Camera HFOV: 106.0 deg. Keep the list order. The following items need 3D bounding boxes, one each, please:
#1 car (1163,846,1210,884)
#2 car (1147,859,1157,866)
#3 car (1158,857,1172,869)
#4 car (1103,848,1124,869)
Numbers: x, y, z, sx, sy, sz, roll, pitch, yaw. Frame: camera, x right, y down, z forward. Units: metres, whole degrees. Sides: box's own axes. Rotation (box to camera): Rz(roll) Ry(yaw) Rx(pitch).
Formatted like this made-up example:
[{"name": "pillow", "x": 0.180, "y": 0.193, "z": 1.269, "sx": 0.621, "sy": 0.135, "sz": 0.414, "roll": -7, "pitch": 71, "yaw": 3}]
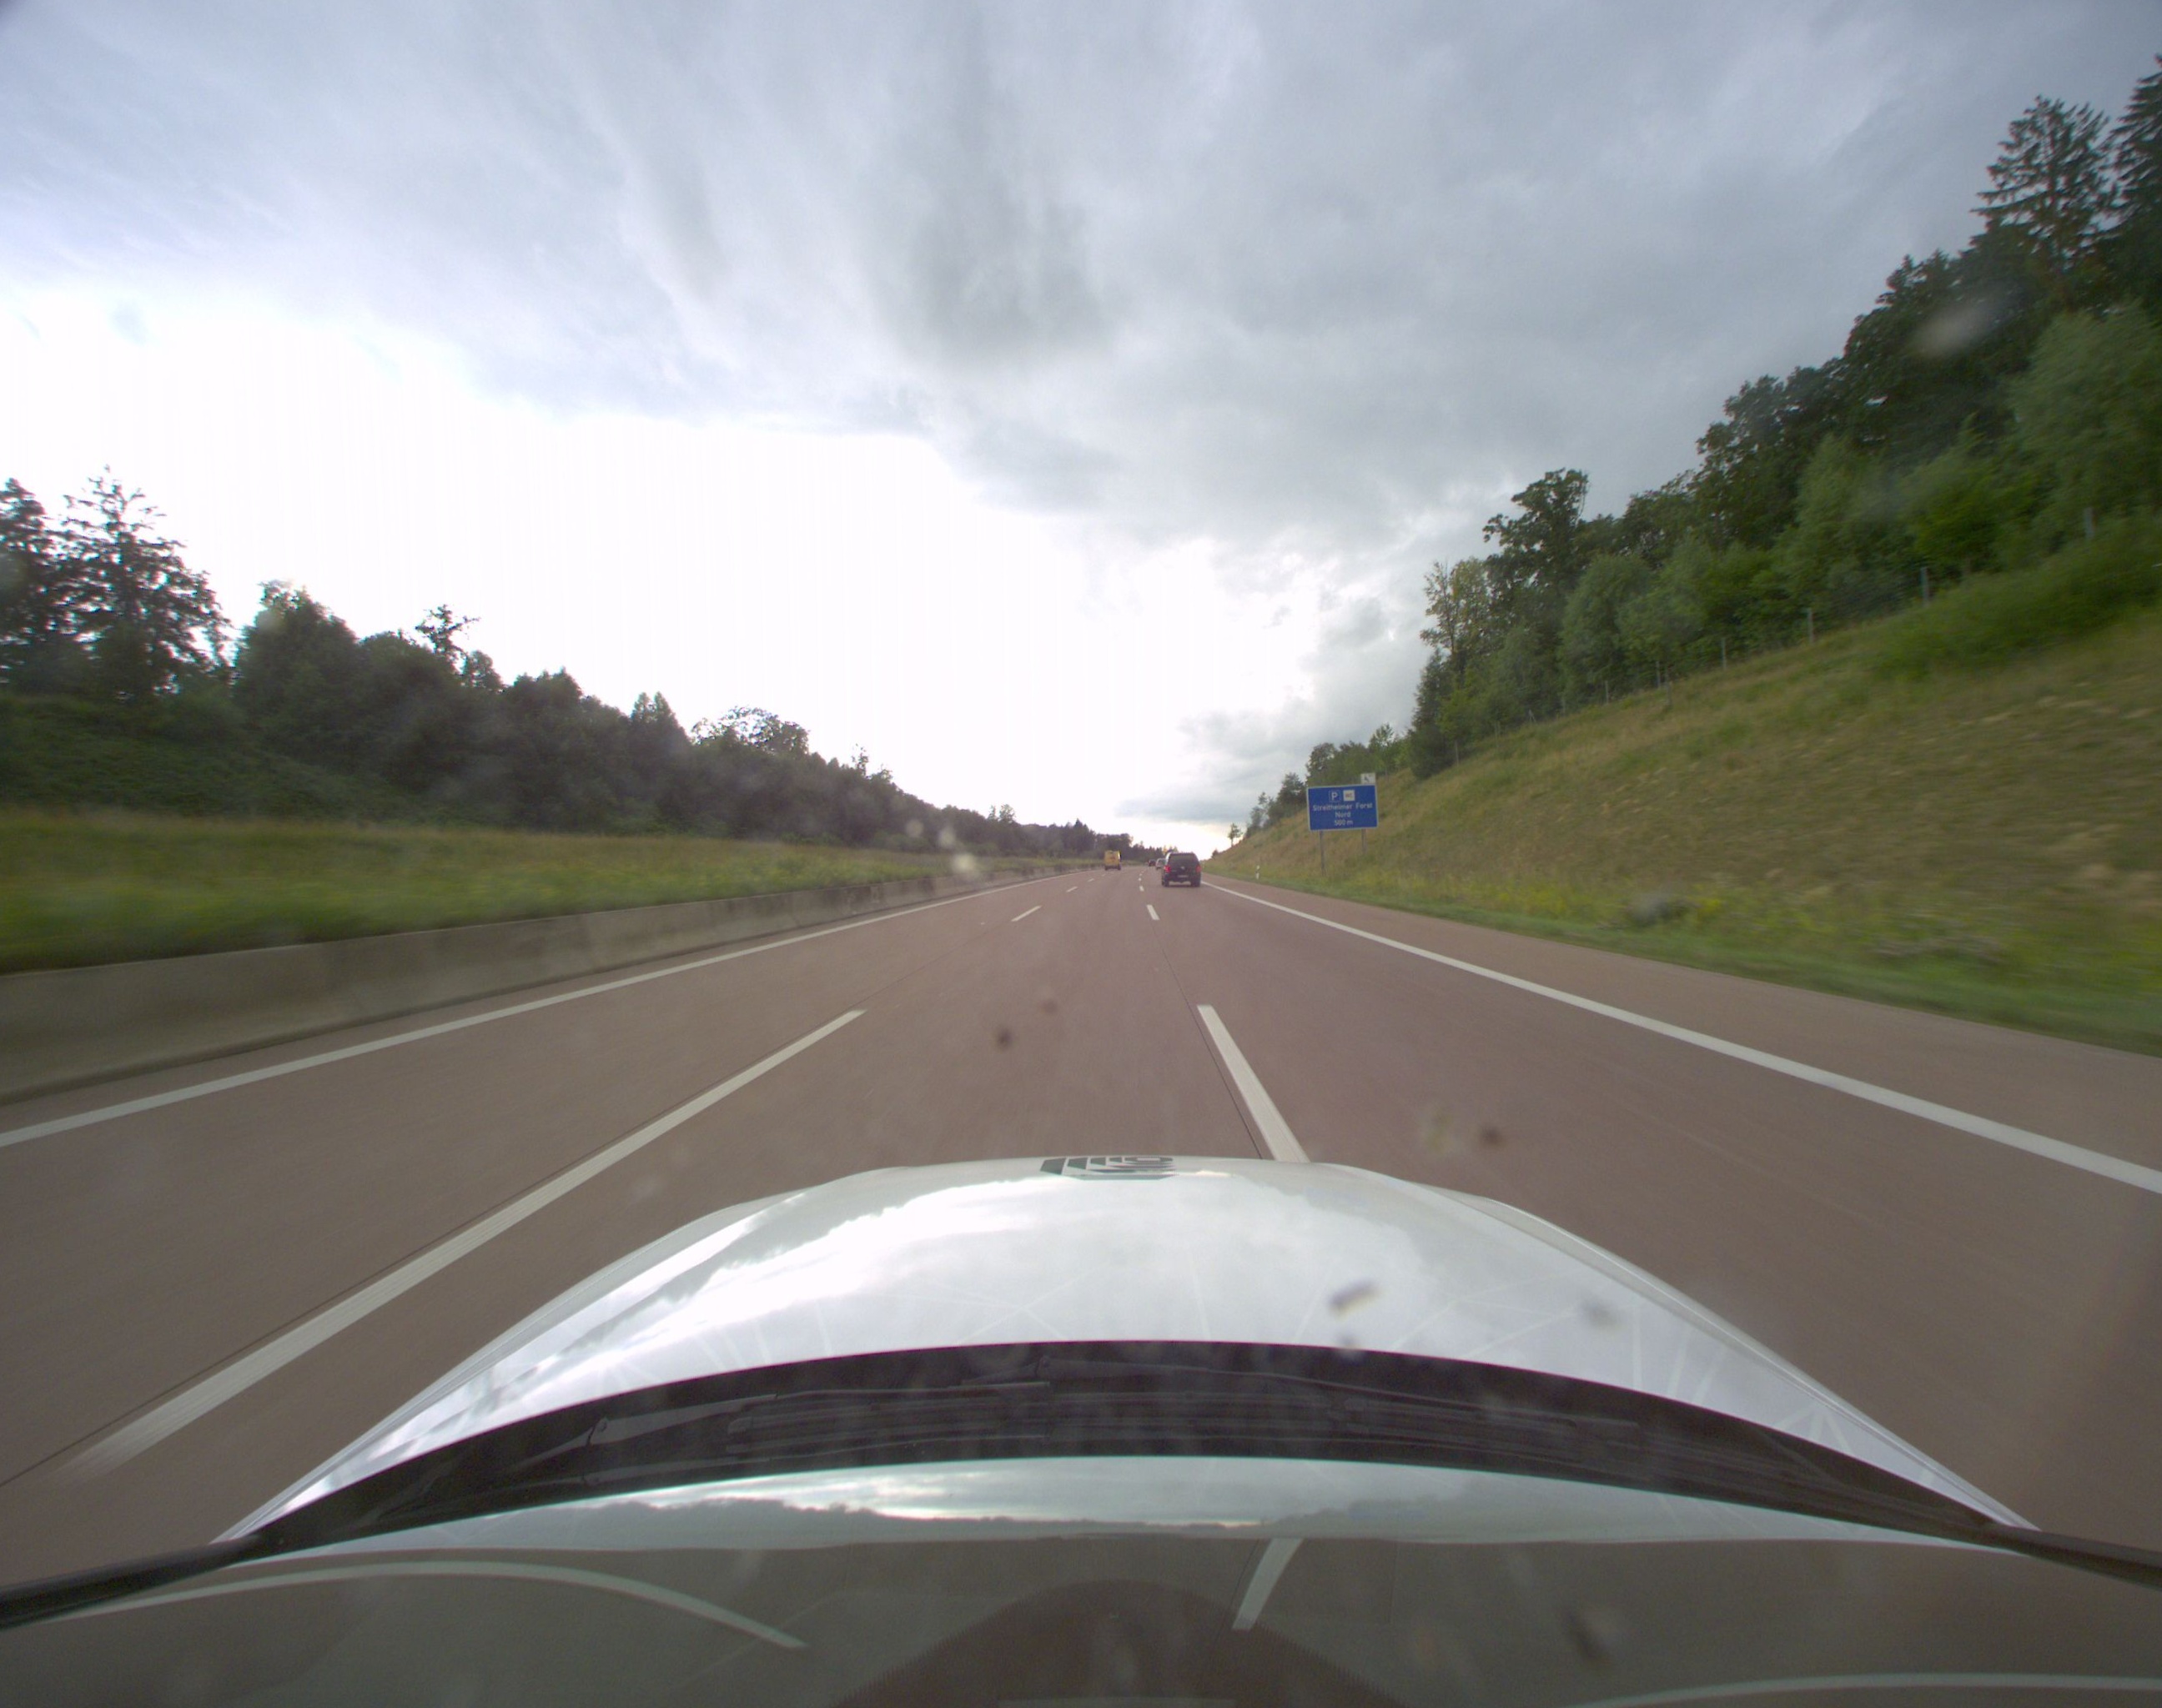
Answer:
[{"name": "car", "x": 5.579, "y": 0.621, "z": 43.831, "sx": 2.036, "sy": 1.897, "sz": 5.581, "roll": -2, "pitch": -1, "yaw": 3}, {"name": "car", "x": 17.398, "y": 2.109, "z": 198.928, "sx": 1.875, "sy": 1.764, "sz": 5.012, "roll": -2, "pitch": -1, "yaw": 11}, {"name": "car", "x": 11.828, "y": 1.319, "z": 114.561, "sx": 1.968, "sy": 1.648, "sz": 4.626, "roll": 0, "pitch": -1, "yaw": 5}, {"name": "car", "x": 4.612, "y": 0.691, "z": 113.847, "sx": 2.445, "sy": 2.706, "sz": 5.624, "roll": -2, "pitch": -1, "yaw": 7}]
